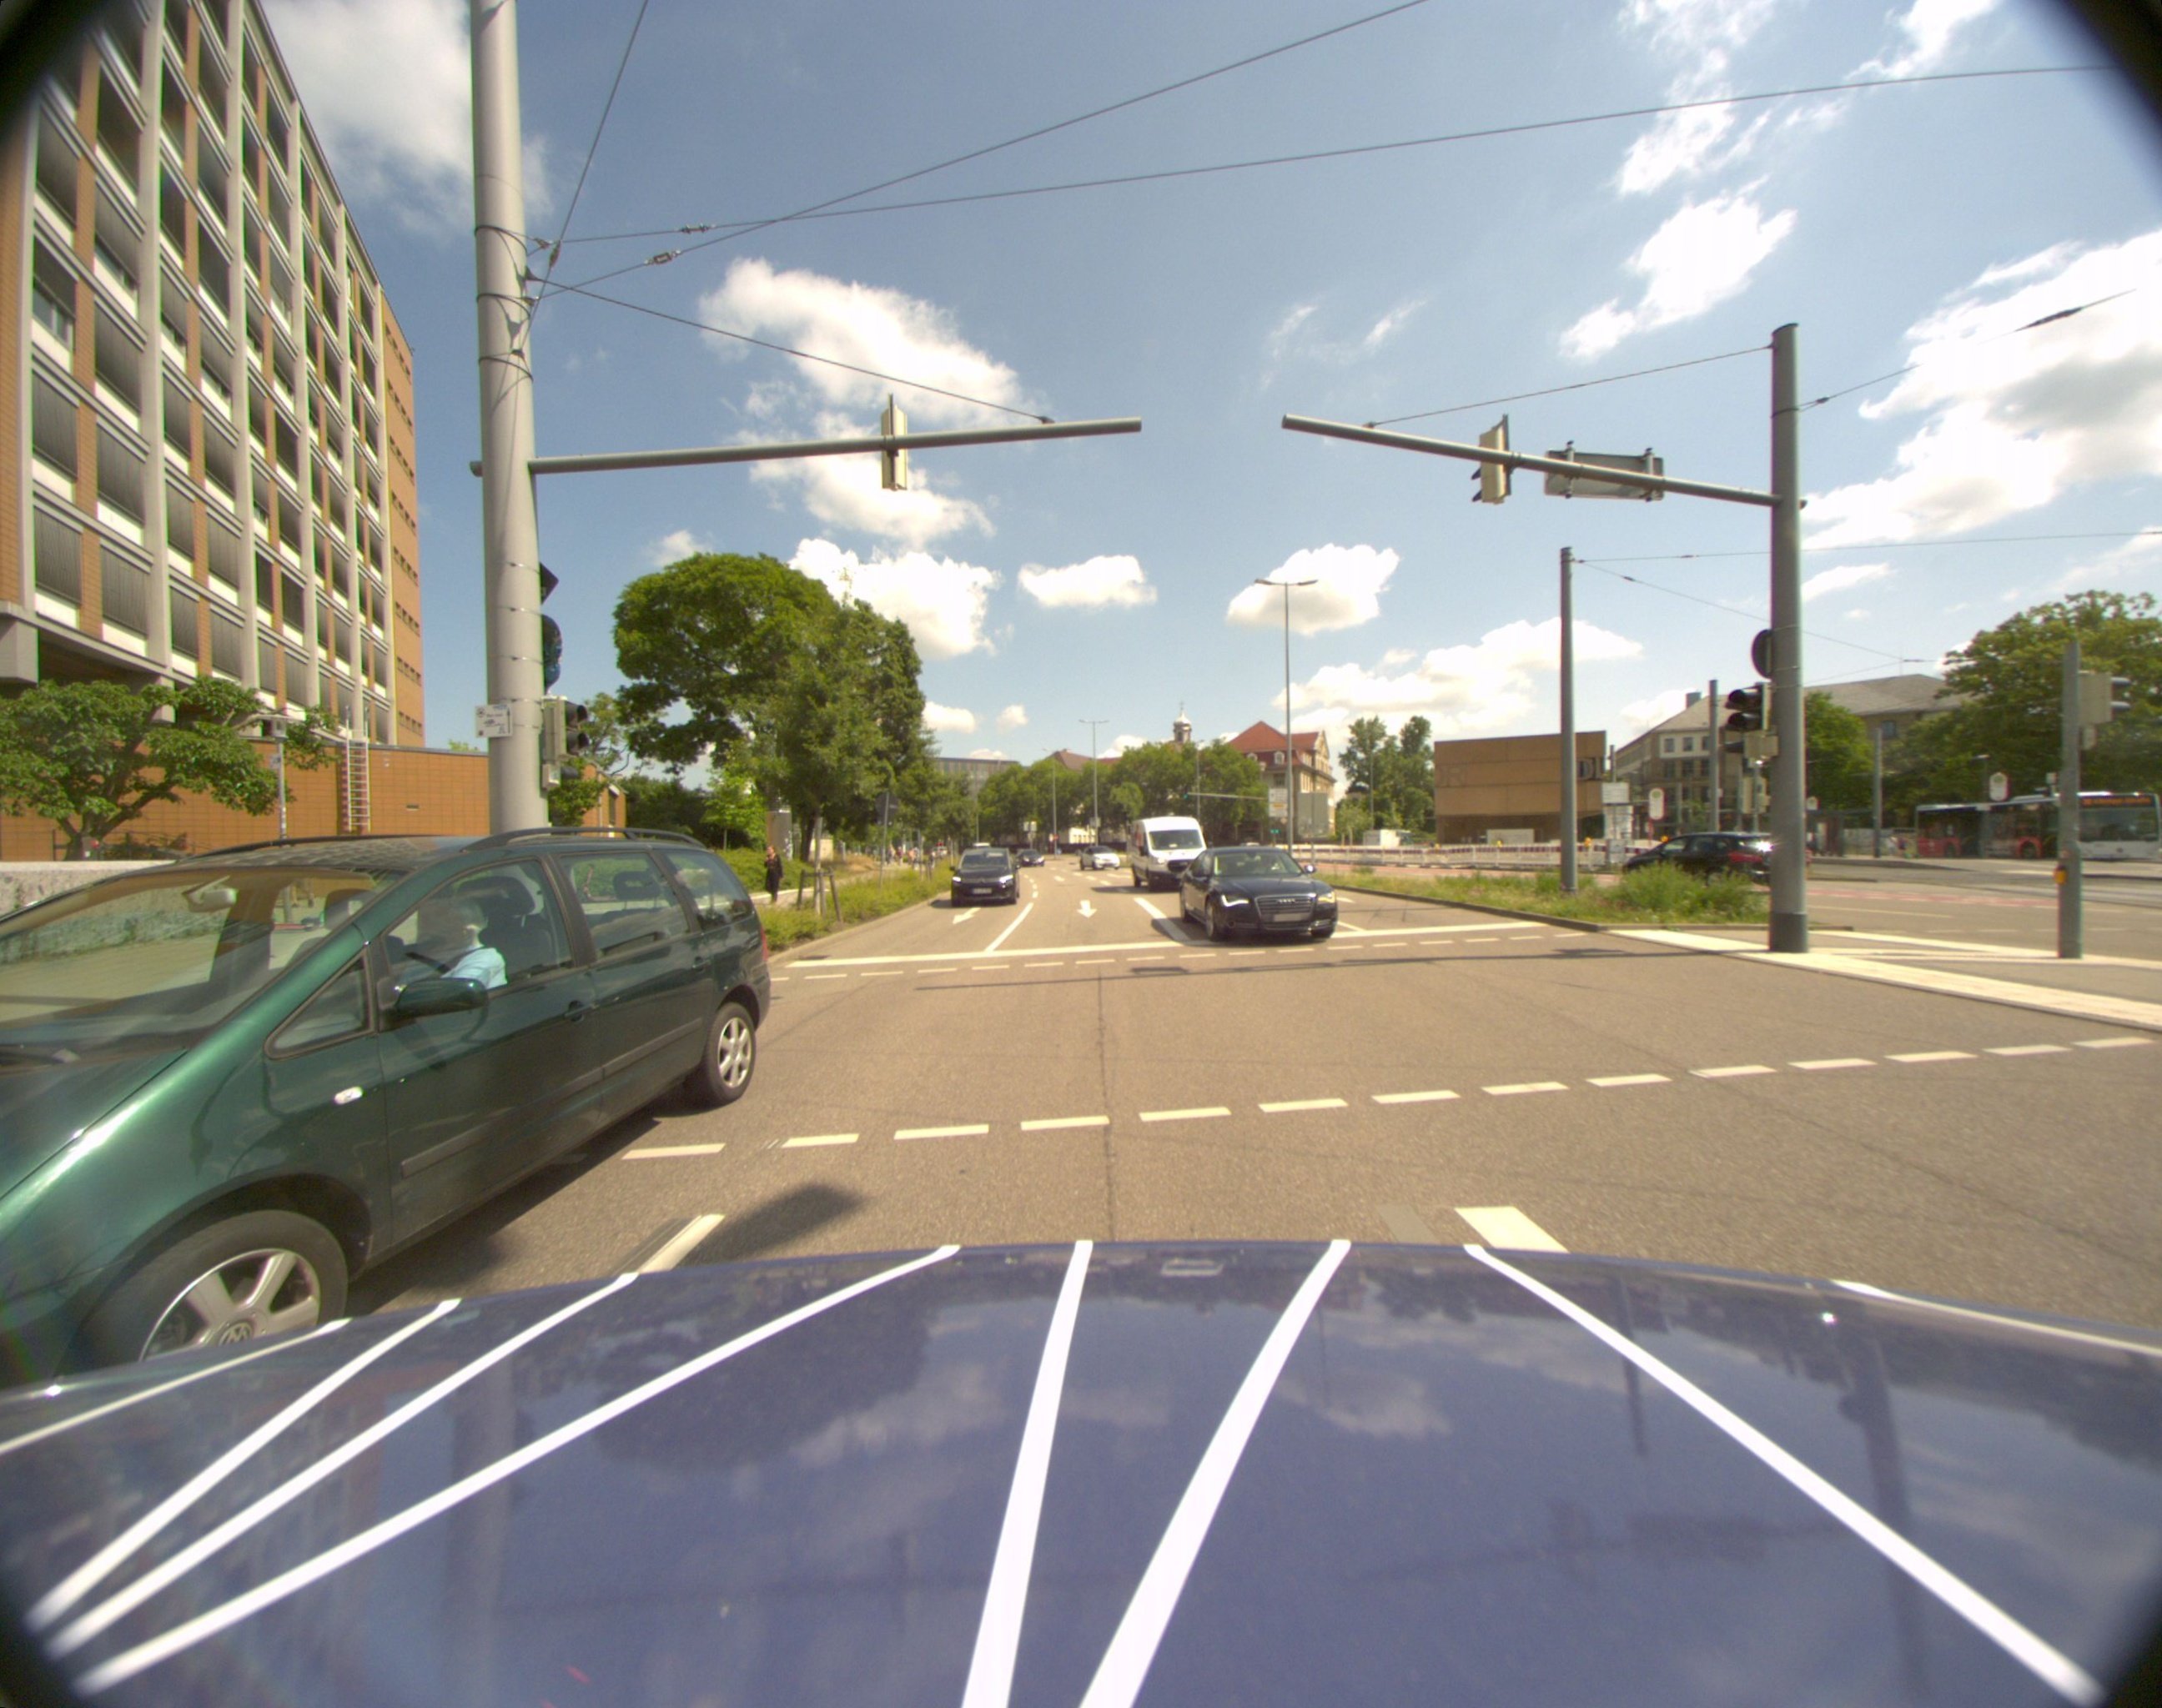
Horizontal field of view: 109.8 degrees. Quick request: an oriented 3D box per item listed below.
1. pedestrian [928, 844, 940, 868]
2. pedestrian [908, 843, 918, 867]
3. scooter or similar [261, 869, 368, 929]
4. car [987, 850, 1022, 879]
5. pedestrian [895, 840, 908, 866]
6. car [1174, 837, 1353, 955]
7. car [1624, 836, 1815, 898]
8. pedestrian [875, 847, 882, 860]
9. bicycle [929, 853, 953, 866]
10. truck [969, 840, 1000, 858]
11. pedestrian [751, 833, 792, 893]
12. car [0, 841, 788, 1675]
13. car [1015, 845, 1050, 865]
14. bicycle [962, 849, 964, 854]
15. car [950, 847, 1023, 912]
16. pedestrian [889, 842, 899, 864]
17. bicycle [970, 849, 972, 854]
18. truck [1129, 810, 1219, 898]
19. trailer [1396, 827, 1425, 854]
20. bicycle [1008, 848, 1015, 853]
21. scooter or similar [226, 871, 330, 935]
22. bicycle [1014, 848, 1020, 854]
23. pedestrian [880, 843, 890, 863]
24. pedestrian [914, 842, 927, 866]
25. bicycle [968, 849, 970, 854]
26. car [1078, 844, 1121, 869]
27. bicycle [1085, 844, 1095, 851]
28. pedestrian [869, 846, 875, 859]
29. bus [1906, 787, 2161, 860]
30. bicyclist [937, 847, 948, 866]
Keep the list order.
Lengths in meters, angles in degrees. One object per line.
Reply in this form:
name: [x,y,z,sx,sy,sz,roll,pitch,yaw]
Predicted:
pedestrian: [-10.325,0.127,53.335,0.652,1.617,0.774,1,2,-2]
pedestrian: [-11.863,0.061,53.682,0.589,1.617,0.726,-3,2,-17]
scooter or similar: [-15.026,0.864,14.923,0.230,1.117,1.456,0,0,36]
car: [-4.334,0.545,42.747,1.766,1.409,4.360,-3,1,-7]
pedestrian: [-12.609,-0.073,53.433,0.759,1.811,0.637,-3,2,-17]
car: [2.874,0.584,13.132,1.933,1.632,4.791,-1,0,0]
car: [16.647,0.294,20.122,1.657,1.460,4.153,-1,1,1]
pedestrian: [-27.638,-0.048,103.578,0.753,1.767,0.879,0,0,-32]
bicycle: [-11.639,0.479,63.186,1.817,1.044,0.590,1,1,-19]
truck: [-13.317,-0.696,104.520,2.466,2.288,5.803,-4,2,-25]
pedestrian: [-8.457,0.229,20.806,0.758,1.581,0.761,-2,2,-2]
car: [-3.122,0.864,3.179,1.798,1.713,4.448,-3,1,3]
car: [-4.094,0.050,63.195,1.754,1.496,4.513,-3,1,-18]
bicycle: [-26.684,-0.549,171.917,0.329,1.012,1.669,-1,1,-5]
car: [-2.761,0.656,22.728,1.863,1.613,4.517,-3,1,-6]
pedestrian: [-15.795,-0.080,64.175,0.753,1.792,0.608,0,0,-19]
bicycle: [-24.437,-0.483,168.521,0.382,1.101,1.669,-1,1,-5]
truck: [3.049,-0.065,26.395,2.143,2.625,5.915,-3,1,-2]
trailer: [37.225,-1.590,85.984,1.997,2.897,4.368,-1,2,11]
bicycle: [-14.187,-0.648,155.035,0.399,1.037,1.757,-2,1,-40]
scooter or similar: [-14.796,0.880,14.029,0.230,1.117,1.285,0,0,36]
bicycle: [-12.994,-0.617,153.640,0.399,1.037,1.579,-2,1,-40]
pedestrian: [-16.434,-0.081,63.608,0.753,1.742,0.608,0,0,-19]
pedestrian: [-12.243,0.000,57.992,0.759,1.810,0.778,2,0,-24]
bicycle: [-24.895,-0.565,169.202,0.382,1.101,1.669,-1,1,-5]
car: [1.142,0.126,49.940,1.753,1.496,4.514,-3,1,-12]
bicycle: [1.687,-1.209,138.886,2.033,1.131,0.399,0,1,40]
pedestrian: [-28.322,-0.206,103.081,0.669,1.736,0.608,0,0,-32]
bus: [44.150,-1.457,35.983,2.588,2.843,12.284,-1,2,26]
bicyclist: [-11.539,0.206,63.210,0.831,1.592,0.578,1,1,-19]
